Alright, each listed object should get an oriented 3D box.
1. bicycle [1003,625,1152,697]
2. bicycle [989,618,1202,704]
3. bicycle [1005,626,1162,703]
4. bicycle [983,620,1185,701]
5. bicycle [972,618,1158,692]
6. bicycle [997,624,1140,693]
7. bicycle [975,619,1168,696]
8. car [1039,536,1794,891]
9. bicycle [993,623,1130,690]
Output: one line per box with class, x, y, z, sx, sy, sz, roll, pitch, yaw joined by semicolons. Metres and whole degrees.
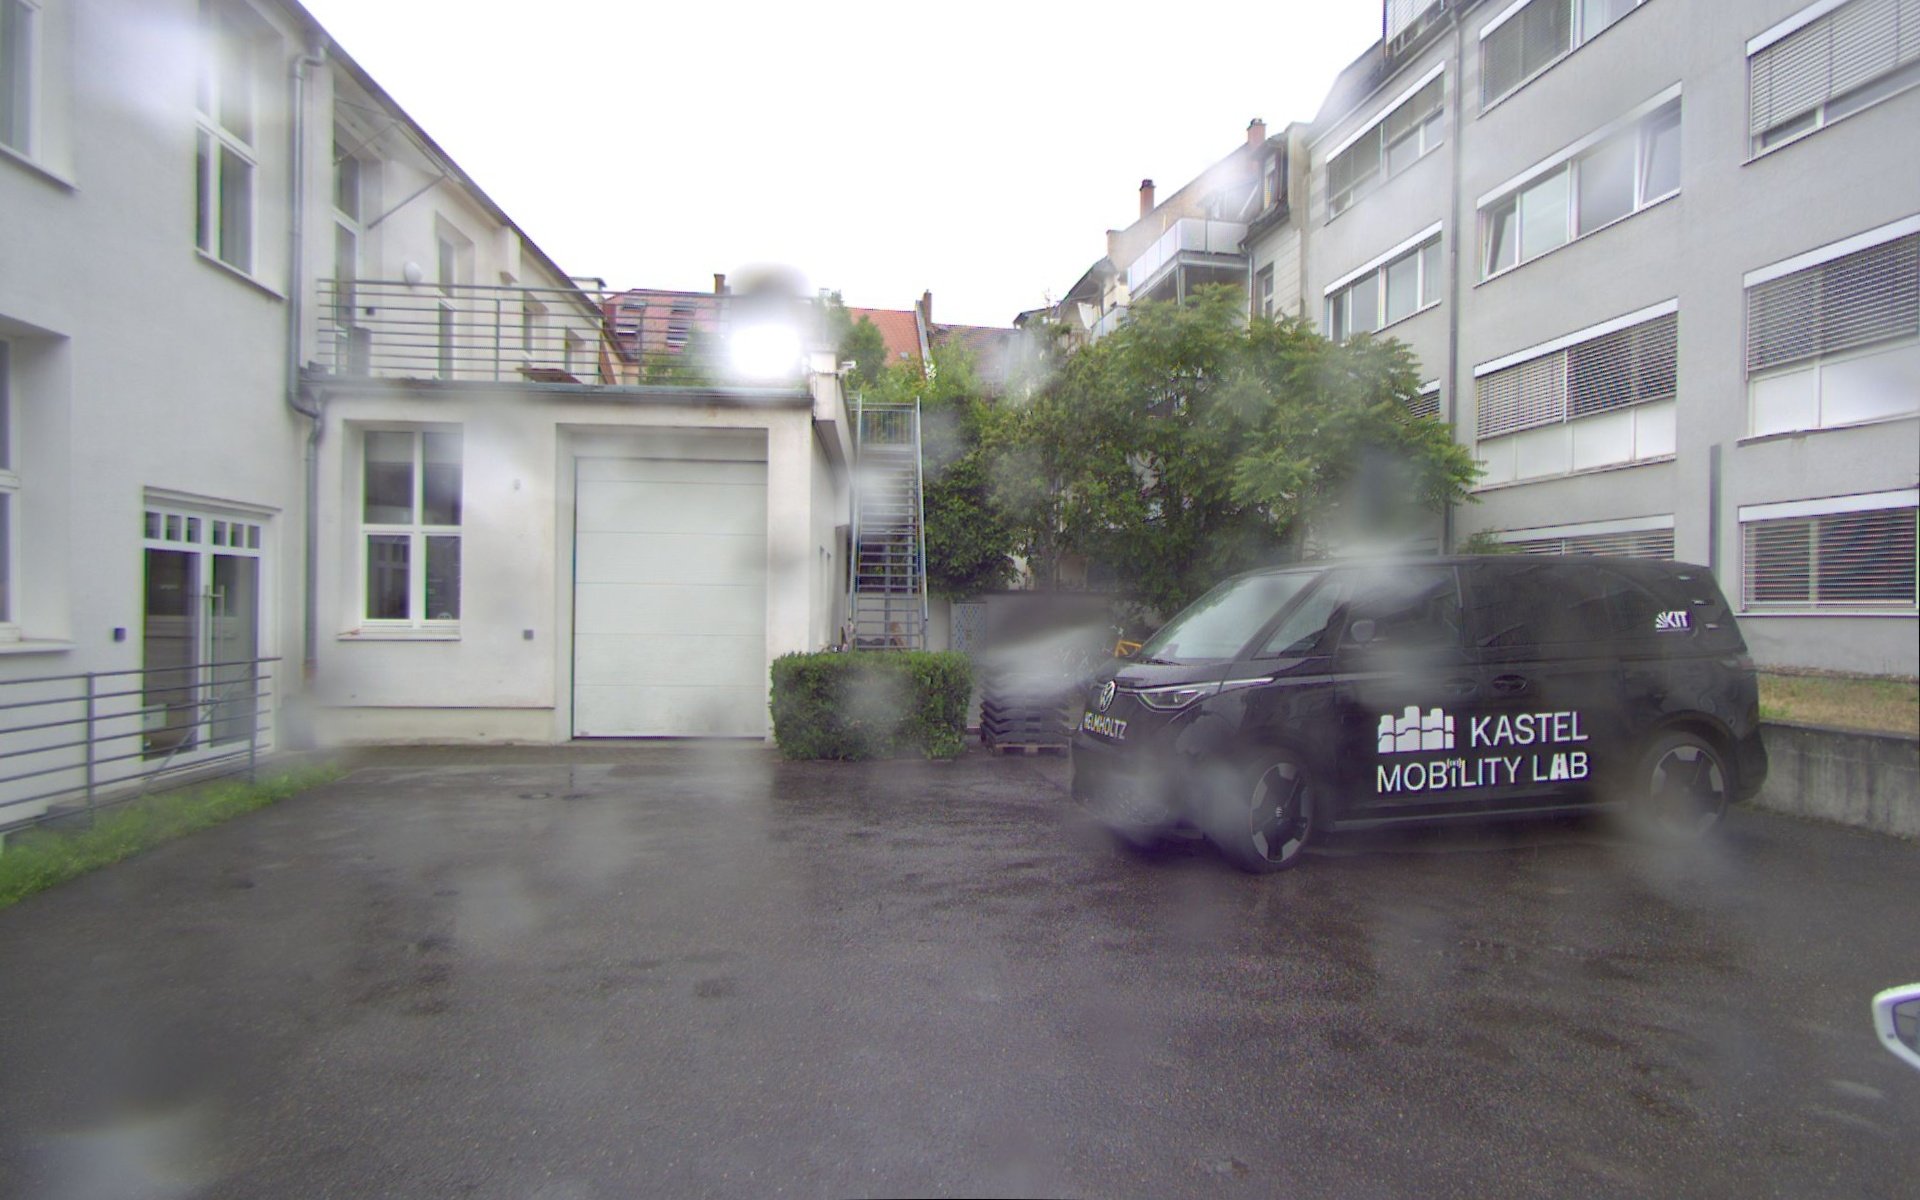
bicycle;1.874;0.977;16.163;2.292;1.119;0.632;1;0;-6
bicycle;2.059;0.917;15.326;3.165;1.258;0.630;0;-1;-8
bicycle;1.870;0.976;15.337;2.292;1.119;0.632;1;0;-6
bicycle;1.985;0.960;16.161;3.165;1.258;0.630;0;-1;-8
bicycle;1.814;0.952;17.493;3.165;1.258;0.630;0;-1;-8
bicycle;1.804;0.975;16.861;2.292;1.119;0.632;1;0;-6
bicycle;1.860;0.953;16.838;3.165;1.258;0.630;0;-1;-8
car;2.967;0.654;6.949;4.444;1.922;2.042;0;-1;-13
bicycle;1.748;0.974;17.510;2.292;1.119;0.632;1;0;-6
